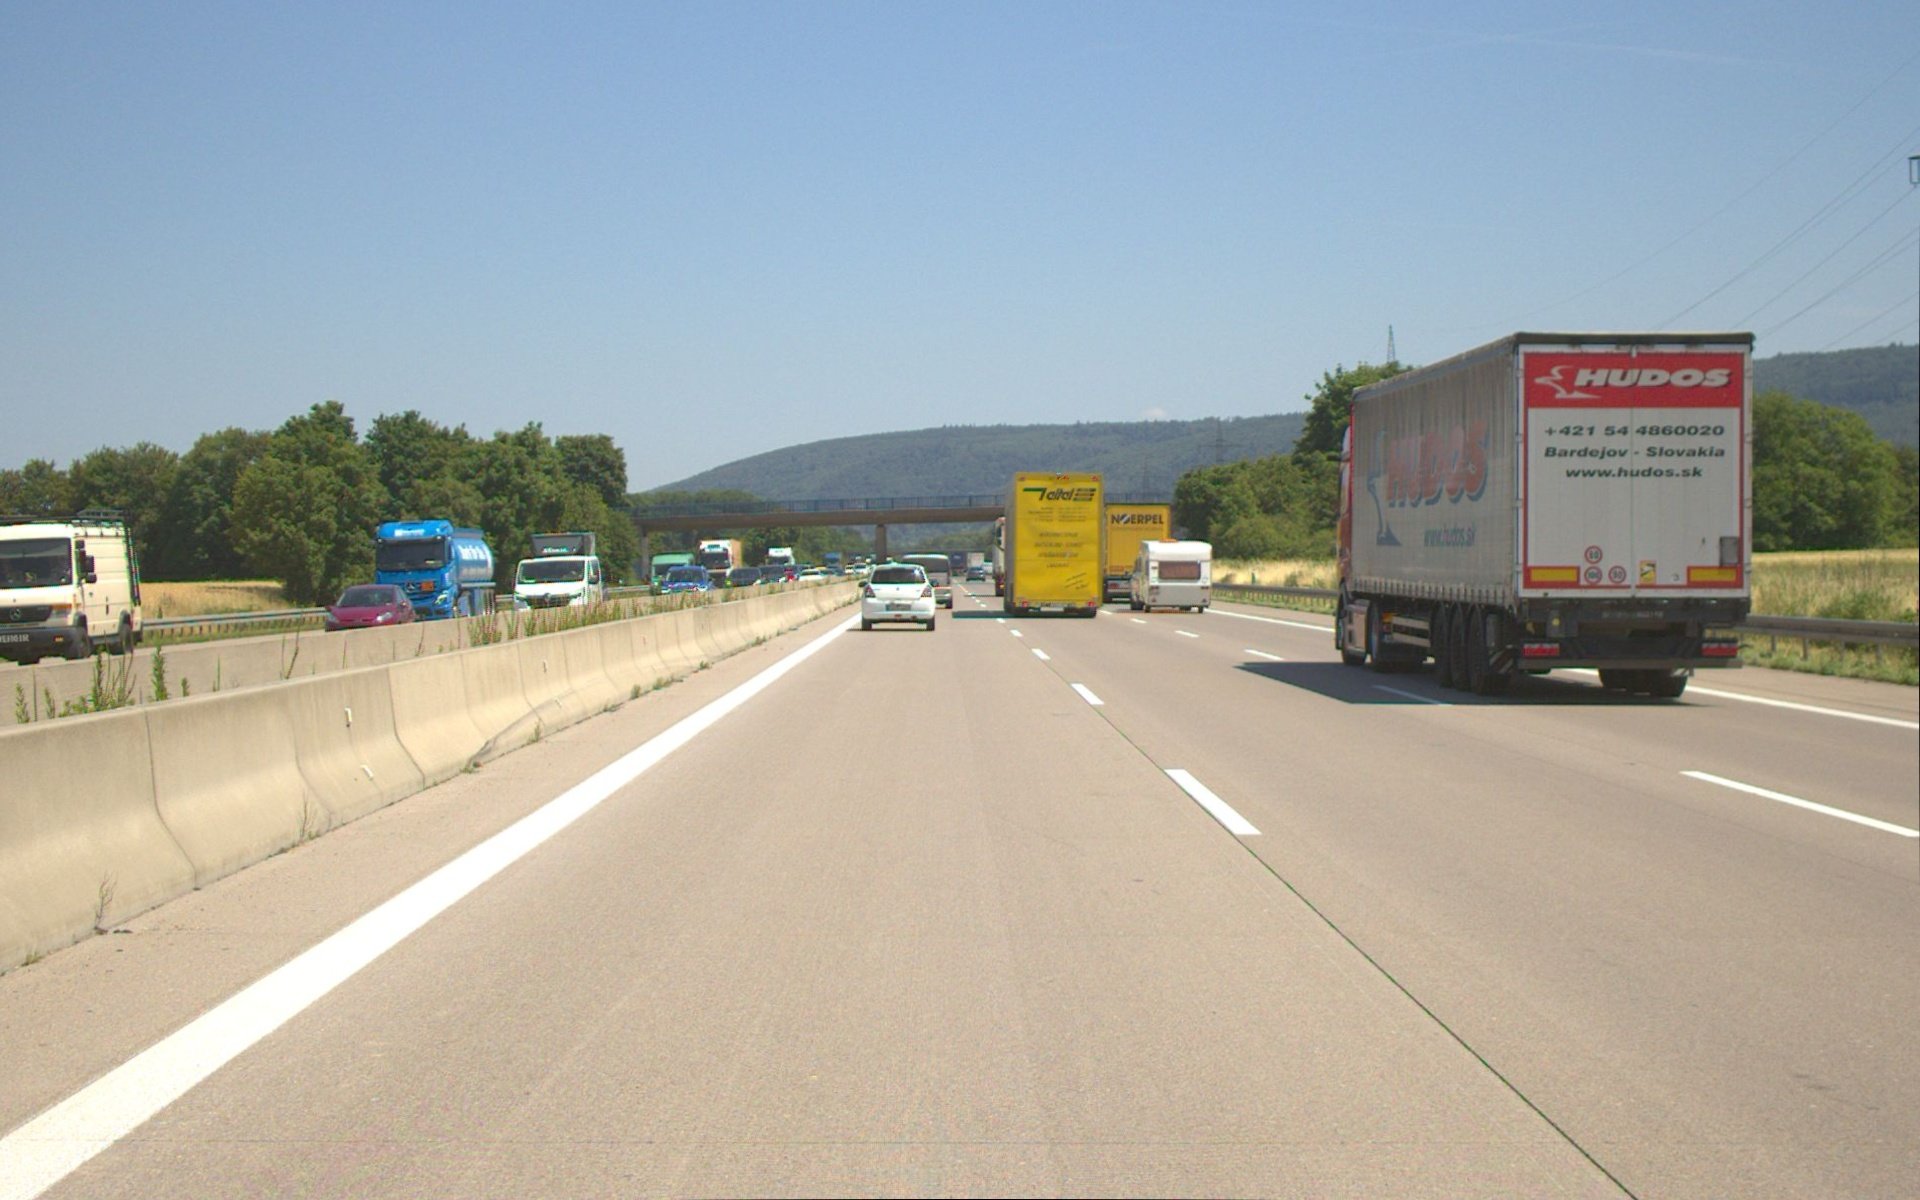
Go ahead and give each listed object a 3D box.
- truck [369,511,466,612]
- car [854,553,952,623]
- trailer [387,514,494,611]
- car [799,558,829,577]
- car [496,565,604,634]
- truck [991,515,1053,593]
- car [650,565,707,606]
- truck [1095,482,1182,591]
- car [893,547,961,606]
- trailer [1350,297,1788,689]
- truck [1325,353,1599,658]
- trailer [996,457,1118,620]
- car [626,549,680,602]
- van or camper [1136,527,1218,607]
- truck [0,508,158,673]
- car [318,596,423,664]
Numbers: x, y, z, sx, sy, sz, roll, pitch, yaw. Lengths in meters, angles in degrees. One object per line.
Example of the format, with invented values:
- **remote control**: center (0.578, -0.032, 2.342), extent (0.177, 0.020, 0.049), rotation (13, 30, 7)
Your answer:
- **truck**: center (-18.217, -1.303, 115.730), extent (2.484, 3.298, 5.264), rotation (1, 1, -1)
- **car**: center (-1.282, -0.293, 79.273), extent (2.107, 1.530, 4.122), rotation (1, 1, 1)
- **trailer**: center (-18.321, -1.345, 121.767), extent (2.515, 3.261, 9.254), rotation (1, 1, -1)
- **car**: center (-10.923, -2.440, 257.815), extent (1.993, 1.359, 4.670), rotation (-2, 1, 0)
- **car**: center (-10.460, -0.047, 88.052), extent (2.138, 1.673, 5.645), rotation (-1, 1, -1)
- **truck**: center (3.005, -2.275, 169.092), extent (2.820, 3.748, 6.284), rotation (1, 1, -1)
- **car**: center (-10.198, -0.534, 124.748), extent (1.779, 1.344, 4.453), rotation (2, 1, -2)
- **truck**: center (7.282, -2.610, 141.642), extent (2.999, 4.299, 9.684), rotation (1, 1, 0)
- **car**: center (-1.143, -0.837, 120.064), extent (2.254, 2.007, 4.297), rotation (1, 1, 1)
- **trailer**: center (7.188, -1.228, 43.020), extent (2.873, 4.086, 13.513), rotation (1, 1, -1)
- **truck**: center (7.130, -1.328, 49.688), extent (2.905, 4.086, 6.272), rotation (1, 1, -1)
- **trailer**: center (2.814, -1.831, 103.918), extent (3.216, 4.548, 13.457), rotation (1, 1, 0)
- **car**: center (-15.161, -1.238, 170.203), extent (2.149, 2.542, 6.464), rotation (-1, 1, -1)
- **van or camper**: center (7.022, -1.096, 111.890), extent (2.224, 2.522, 5.431), rotation (1, 1, -1)
- **truck**: center (-17.756, -0.233, 67.734), extent (2.322, 3.073, 6.978), rotation (1, 1, -1)
- **car**: center (-13.601, 0.675, 79.560), extent (1.688, 1.454, 4.487), rotation (-1, 1, -1)
